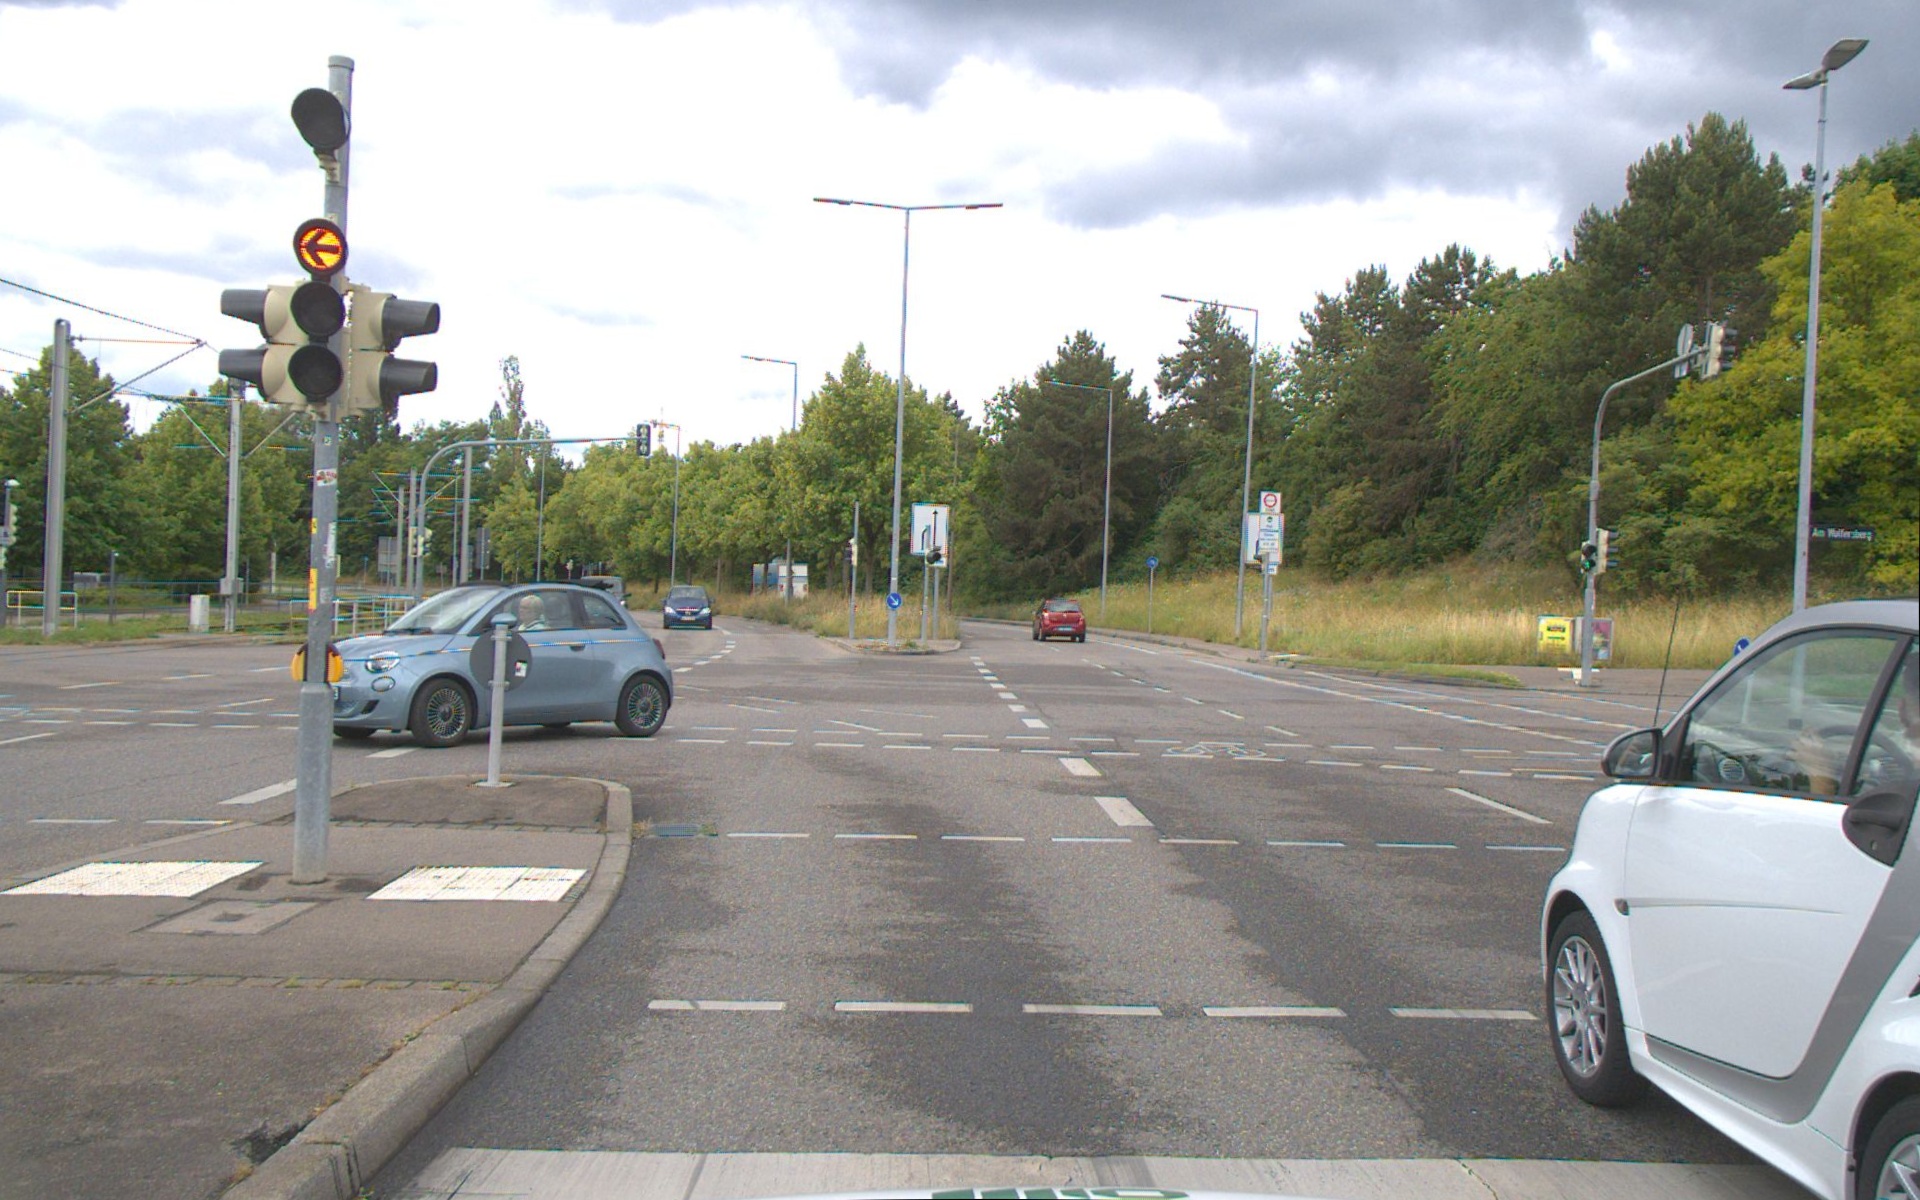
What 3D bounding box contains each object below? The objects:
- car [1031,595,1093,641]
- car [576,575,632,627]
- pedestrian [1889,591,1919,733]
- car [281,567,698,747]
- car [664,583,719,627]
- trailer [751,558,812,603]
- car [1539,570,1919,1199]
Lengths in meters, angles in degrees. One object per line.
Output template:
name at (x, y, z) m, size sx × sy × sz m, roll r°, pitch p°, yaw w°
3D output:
car at (3.773, 0.672, 61.815) m, size 1.749 × 1.631 × 3.883 m, roll 1°, pitch 0°, yaw -5°
car at (-13.303, 0.035, 62.006) m, size 1.853 × 1.844 × 5.080 m, roll 0°, pitch 0°, yaw -10°
pedestrian at (11.751, 0.751, 20.029) m, size 0.630 × 1.691 × 0.714 m, roll 1°, pitch -1°, yaw 6°
car at (-4.524, 0.516, 16.238) m, size 1.730 × 1.555 × 3.580 m, roll 1°, pitch -1°, yaw 41°
car at (-9.783, 0.191, 60.421) m, size 1.702 × 1.535 × 3.656 m, roll 1°, pitch 0°, yaw -5°
trailer at (-12.672, -1.344, 117.192) m, size 2.709 × 3.065 × 6.045 m, roll 1°, pitch 0°, yaw -23°
car at (2.697, 0.729, 4.082) m, size 1.559 × 1.543 × 2.766 m, roll 1°, pitch 0°, yaw 0°
